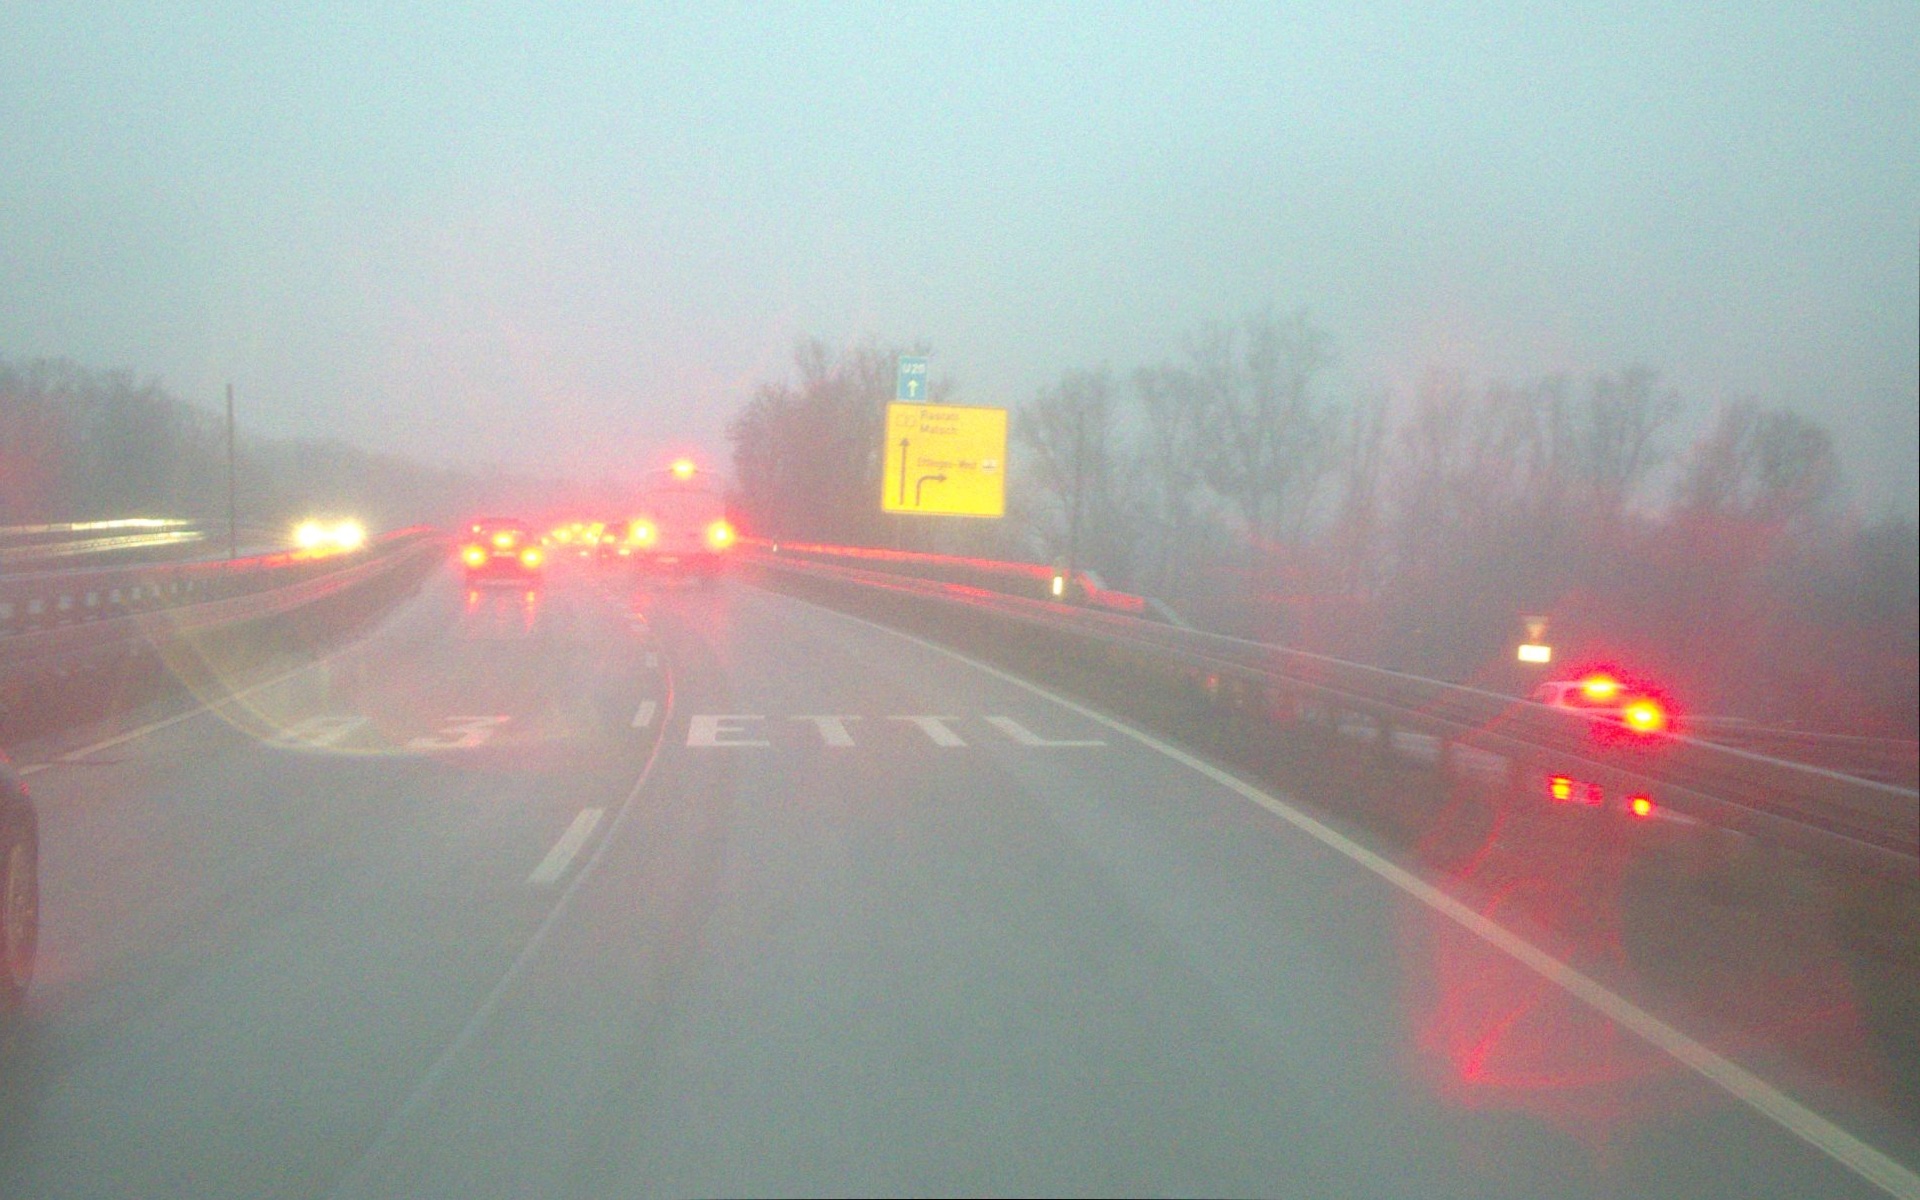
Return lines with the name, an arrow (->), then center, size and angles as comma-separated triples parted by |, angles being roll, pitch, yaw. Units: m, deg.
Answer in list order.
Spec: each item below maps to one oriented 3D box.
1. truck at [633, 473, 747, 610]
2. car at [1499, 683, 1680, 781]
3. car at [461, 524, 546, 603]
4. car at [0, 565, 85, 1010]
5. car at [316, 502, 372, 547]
truck -> -6.338, -1.314, 80.197 | 2.382, 2.899, 4.675 | 1, -2, -7
car -> 10.349, 2.147, 56.780 | 1.676, 1.277, 4.001 | 7, -1, -7
car -> -10.417, -0.809, 78.452 | 1.834, 1.532, 4.000 | 2, -3, -7
car -> -3.783, 0.601, 10.250 | 1.625, 1.387, 4.001 | 0, 1, -5
car -> -23.237, -2.839, 129.626 | 1.678, 1.401, 4.507 | 0, -2, -15
